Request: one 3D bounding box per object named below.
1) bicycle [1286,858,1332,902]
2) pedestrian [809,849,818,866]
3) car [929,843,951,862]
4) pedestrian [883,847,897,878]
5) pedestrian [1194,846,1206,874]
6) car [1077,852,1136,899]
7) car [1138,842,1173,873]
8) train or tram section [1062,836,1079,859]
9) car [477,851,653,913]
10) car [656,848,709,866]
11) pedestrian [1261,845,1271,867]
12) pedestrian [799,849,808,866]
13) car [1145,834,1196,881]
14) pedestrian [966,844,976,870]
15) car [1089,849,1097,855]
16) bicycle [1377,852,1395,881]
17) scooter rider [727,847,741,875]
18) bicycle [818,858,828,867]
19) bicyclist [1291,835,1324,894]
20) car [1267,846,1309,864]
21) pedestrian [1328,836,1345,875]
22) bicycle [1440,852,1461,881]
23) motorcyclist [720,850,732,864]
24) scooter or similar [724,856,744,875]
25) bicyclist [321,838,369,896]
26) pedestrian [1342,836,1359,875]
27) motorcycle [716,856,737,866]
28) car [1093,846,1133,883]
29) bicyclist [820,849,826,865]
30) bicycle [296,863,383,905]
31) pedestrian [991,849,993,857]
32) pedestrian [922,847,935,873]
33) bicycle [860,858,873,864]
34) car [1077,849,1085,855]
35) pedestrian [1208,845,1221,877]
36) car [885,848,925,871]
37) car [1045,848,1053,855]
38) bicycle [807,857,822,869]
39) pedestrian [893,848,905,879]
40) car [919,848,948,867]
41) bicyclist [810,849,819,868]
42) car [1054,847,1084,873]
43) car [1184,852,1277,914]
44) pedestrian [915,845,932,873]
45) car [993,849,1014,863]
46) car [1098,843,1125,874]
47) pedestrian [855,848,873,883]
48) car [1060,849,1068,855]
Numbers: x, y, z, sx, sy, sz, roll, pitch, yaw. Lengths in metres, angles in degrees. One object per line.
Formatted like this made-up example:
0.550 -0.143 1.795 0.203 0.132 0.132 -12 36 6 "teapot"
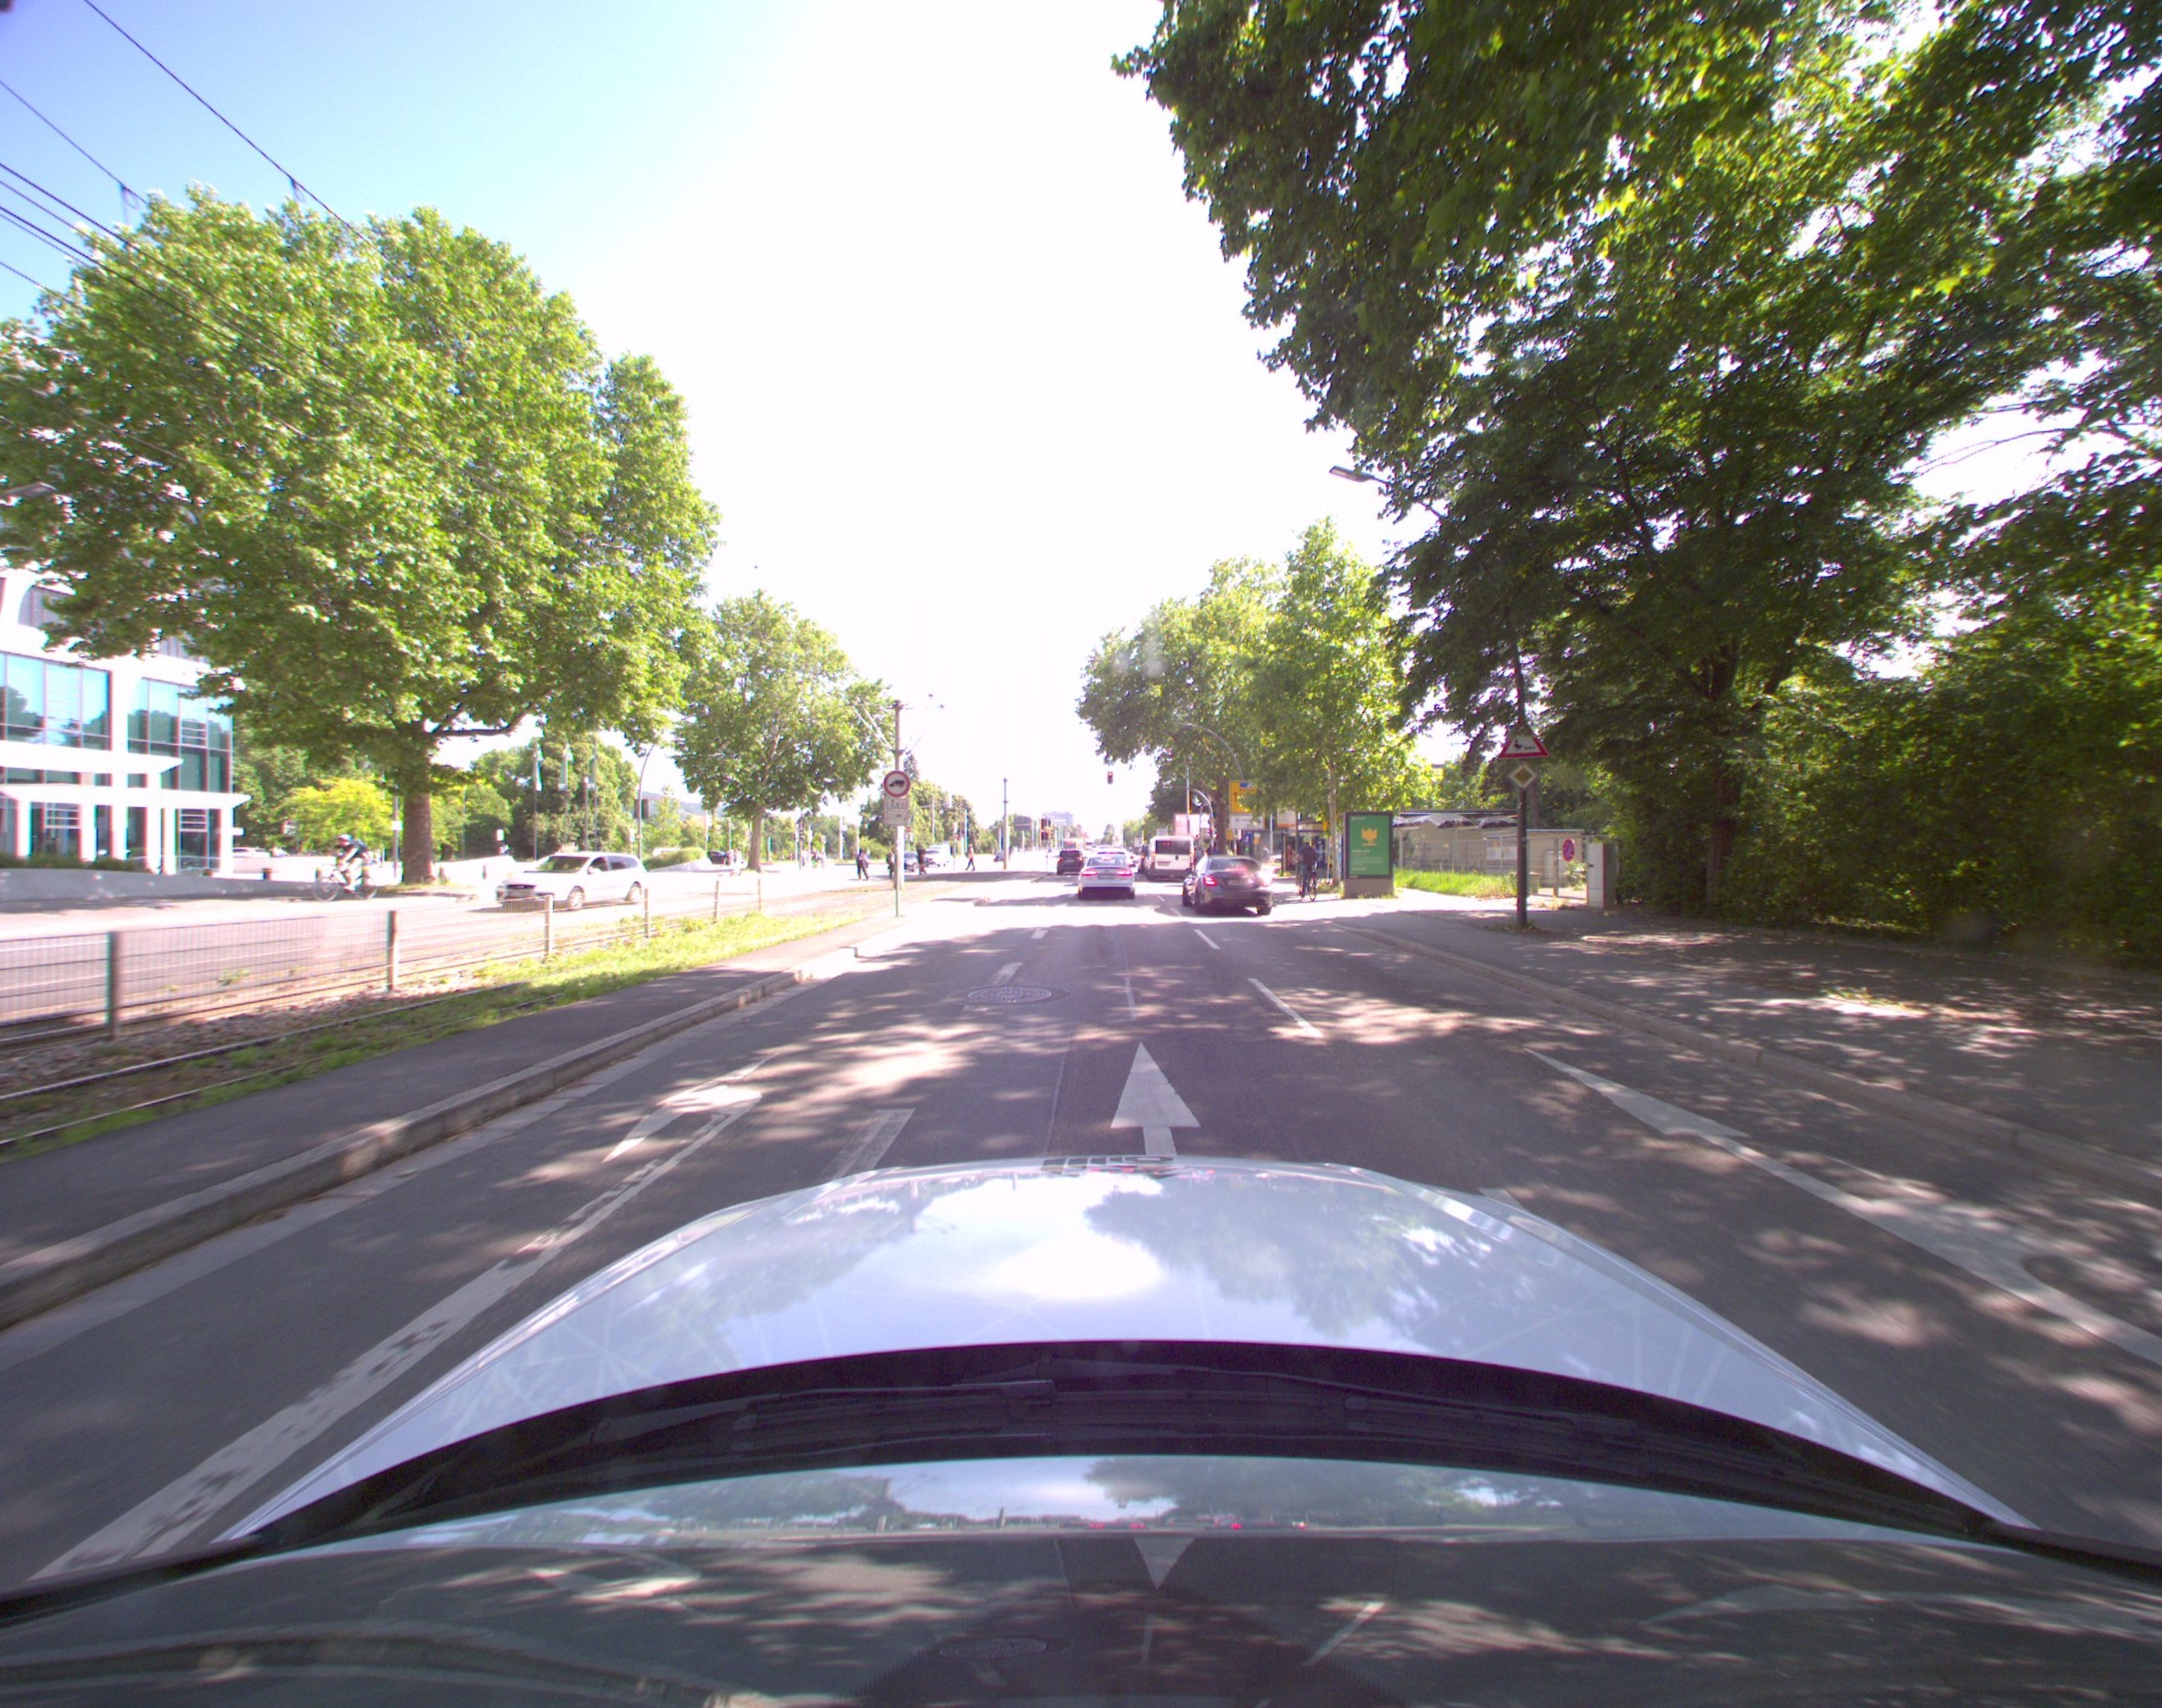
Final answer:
6.598 0.730 23.691 0.712 1.148 2.179 -3 0 1 "bicycle"
-23.995 0.308 73.049 0.623 1.542 0.779 0 0 -14 "pedestrian"
-18.239 -0.193 105.467 2.106 2.382 4.003 0 0 2 "car"
-10.233 0.475 43.683 0.590 1.646 0.555 0 0 2 "pedestrian"
7.356 0.338 50.415 0.600 1.694 0.954 -2 0 2 "pedestrian"
0.857 0.649 26.714 1.778 1.420 3.887 0 0 2 "car"
4.921 0.205 54.227 2.064 1.999 4.060 0 0 2 "car"
-1.776 -1.207 146.145 2.606 4.015 7.754 0 0 2 "train or tram section"
-13.643 0.674 21.915 1.789 1.488 4.388 0 0 2 "car"
-35.174 0.296 71.909 3.832 1.549 1.770 0 0 2 "car"
14.775 0.147 65.124 0.772 1.788 0.767 0 0 14 "pedestrian"
-24.920 0.314 73.119 0.620 1.542 0.644 0 0 1 "pedestrian"
4.444 0.156 40.933 2.221 2.211 4.164 0 0 2 "car"
-8.158 0.237 60.494 0.621 1.918 0.690 0 0 2 "pedestrian"
3.423 -0.491 233.196 1.862 1.609 4.005 0 0 4 "car"
13.000 0.518 34.715 0.388 1.180 1.174 0 0 2 "bicycle"
-20.252 0.404 47.539 0.504 1.631 0.566 0 0 2 "scooter rider"
-21.675 0.702 68.441 0.419 0.748 1.146 0 0 0 "bicycle"
6.570 0.285 23.638 0.632 1.648 0.979 -2 0 1 "bicyclist"
20.414 0.097 80.455 3.762 1.672 1.794 0 0 2 "car"
12.431 0.081 39.605 0.611 1.896 0.694 0 0 -1 "pedestrian"
15.400 0.506 33.944 0.388 1.180 1.174 0 0 2 "bicycle"
-31.991 0.253 73.422 0.750 1.314 0.604 0 0 2 "motorcyclist"
-20.259 0.659 47.543 0.545 1.112 1.249 0 0 2 "scooter or similar"
-20.805 0.353 23.039 0.572 1.604 0.839 0 0 2 "bicyclist"
13.156 0.082 39.746 0.611 1.896 0.597 0 0 -1 "pedestrian"
-31.953 0.614 73.422 1.637 0.891 0.650 0 0 2 "motorcycle"
1.443 0.448 36.921 1.723 1.605 3.887 0 0 2 "car"
-21.665 0.276 68.408 0.384 1.311 0.465 0 0 0 "bicyclist"
-20.796 0.813 22.893 0.664 1.094 1.885 0 0 3 "bicycle"
-17.273 -0.203 157.774 0.418 1.549 0.553 0 0 2 "pedestrian"
-9.617 0.380 51.308 0.532 1.598 0.580 0 0 21 "pedestrian"
-25.357 0.822 96.357 0.486 0.731 1.632 0 0 31 "bicycle"
0.003 -0.530 233.427 1.862 1.609 4.005 0 0 4 "car"
8.007 0.412 48.828 0.633 1.946 0.719 0 0 2 "pedestrian"
-12.658 0.400 58.913 1.863 1.609 4.003 0 0 2 "car"
-8.649 -0.666 219.484 1.987 1.641 4.000 0 0 0 "car"
-20.361 0.683 62.226 0.482 0.961 1.656 0 0 2 "bicycle"
-9.975 0.497 44.592 0.490 1.679 0.644 0 0 2 "pedestrian"
-13.169 0.296 72.999 1.757 1.609 3.863 0 0 2 "car"
-20.377 0.352 62.238 0.478 1.416 0.592 0 0 1 "bicyclist"
-0.752 0.357 53.421 1.723 1.631 4.002 0 0 2 "car"
3.693 0.655 20.723 1.775 1.420 4.002 0 0 2 "car"
-9.790 0.315 50.580 0.769 1.734 0.756 0 0 10 "pedestrian"
-9.505 0.222 100.396 1.986 1.734 4.003 0 0 2 "car"
1.991 0.277 53.389 1.723 1.901 4.002 0 0 2 "car"
-10.121 0.532 38.003 0.760 1.623 0.590 0 0 -24 "pedestrian"
-4.727 -0.634 226.934 1.987 1.641 4.000 0 0 0 "car"
